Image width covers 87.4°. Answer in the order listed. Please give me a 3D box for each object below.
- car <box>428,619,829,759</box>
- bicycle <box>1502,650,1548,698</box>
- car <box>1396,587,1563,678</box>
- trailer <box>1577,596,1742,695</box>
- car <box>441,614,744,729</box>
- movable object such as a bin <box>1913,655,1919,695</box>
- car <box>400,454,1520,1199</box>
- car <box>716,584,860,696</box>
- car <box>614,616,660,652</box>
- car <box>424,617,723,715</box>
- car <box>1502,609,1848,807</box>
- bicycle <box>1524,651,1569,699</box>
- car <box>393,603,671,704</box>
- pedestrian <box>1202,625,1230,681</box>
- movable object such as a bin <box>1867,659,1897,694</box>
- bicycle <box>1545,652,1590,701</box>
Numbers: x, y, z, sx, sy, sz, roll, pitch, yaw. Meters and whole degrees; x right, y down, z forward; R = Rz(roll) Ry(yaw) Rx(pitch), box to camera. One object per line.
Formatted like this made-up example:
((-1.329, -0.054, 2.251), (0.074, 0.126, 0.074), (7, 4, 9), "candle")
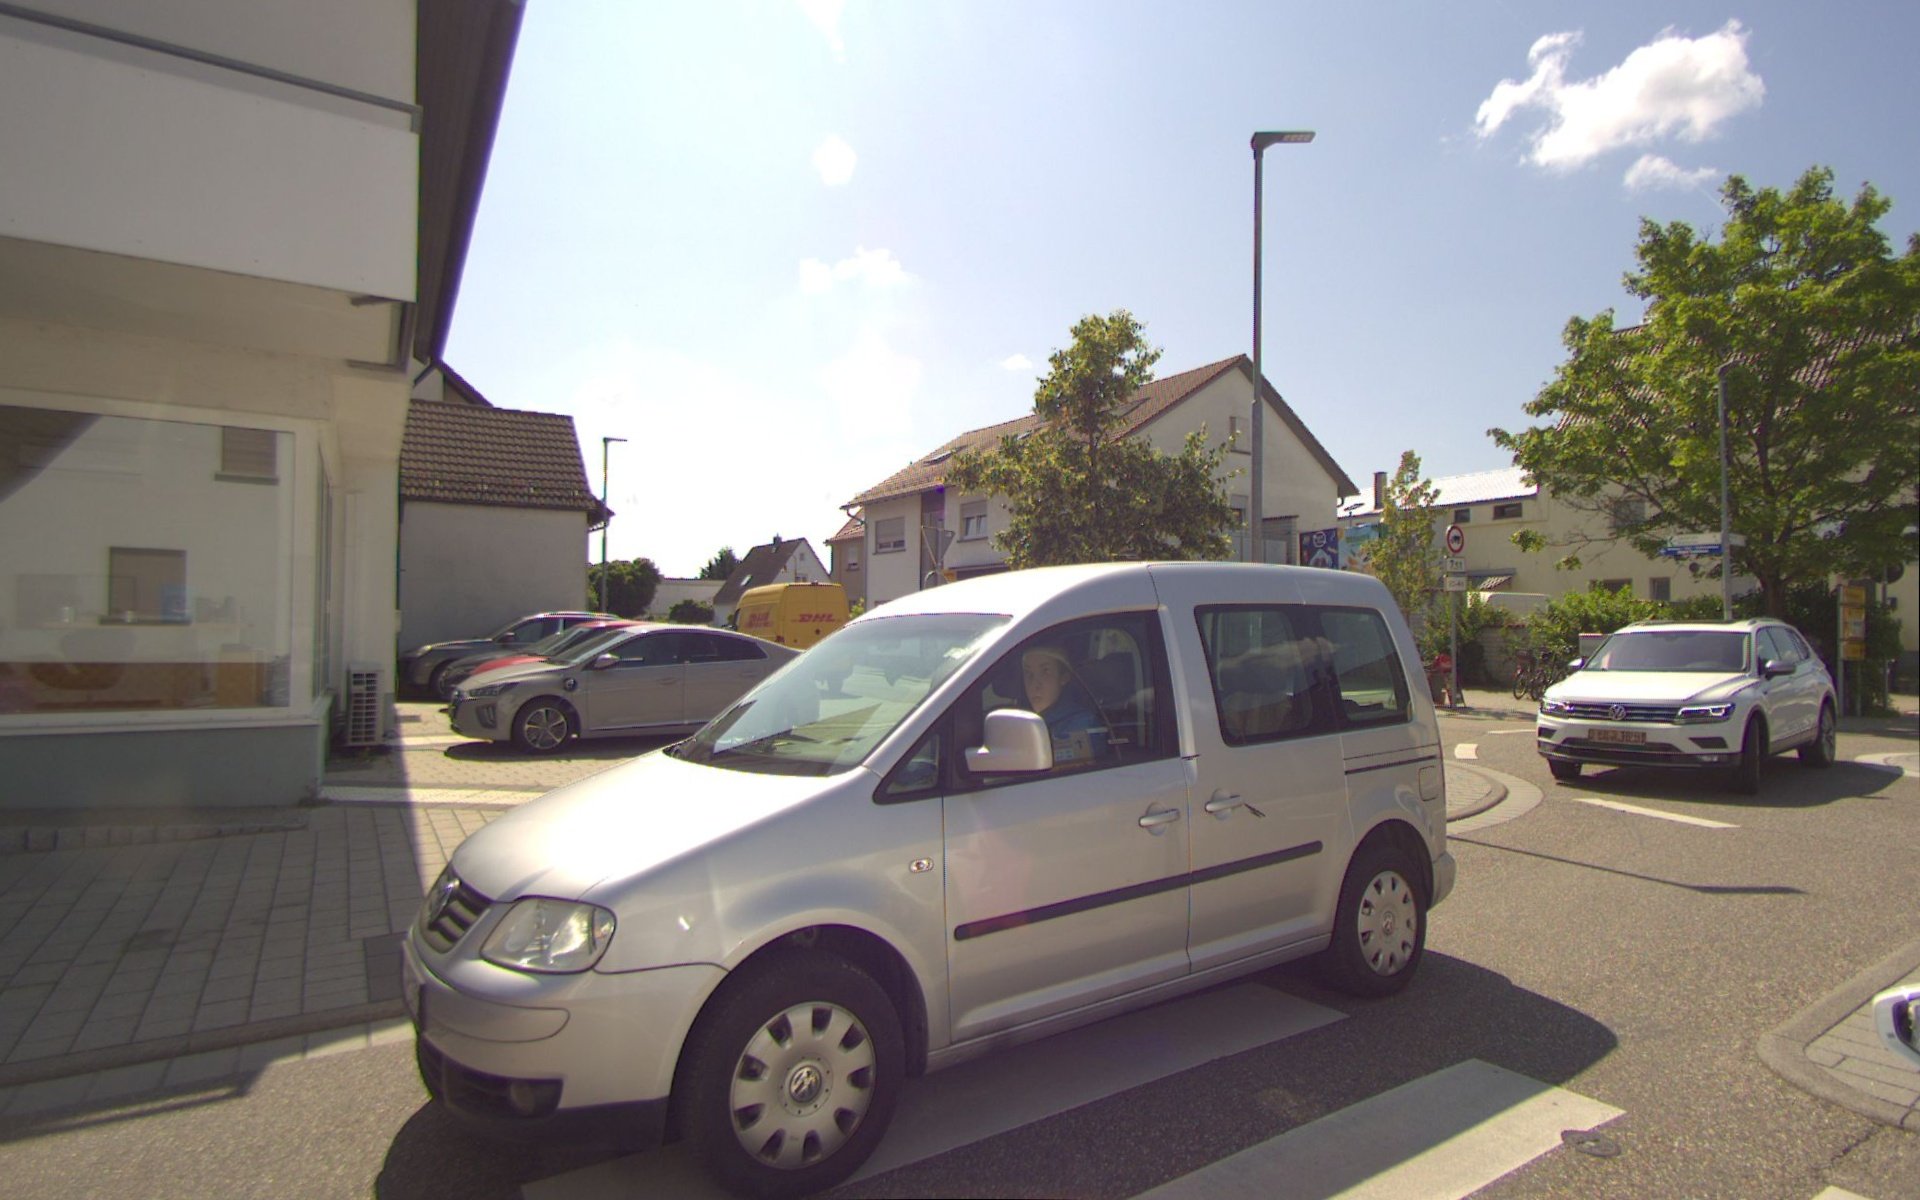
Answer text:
((-4.045, 1.025, 12.525), (4.431, 1.470, 1.819), (2, -2, -33), "car")
((13.414, 1.724, 23.825), (1.969, 1.017, 0.396), (0, 0, -44), "bicycle")
((15.945, 0.980, 30.736), (5.584, 2.601, 1.926), (2, 0, -32), "car")
((18.109, 1.129, 25.968), (4.473, 2.366, 1.869), (2, 0, -32), "trailer")
((-5.401, 1.008, 14.896), (3.922, 1.496, 1.737), (2, -2, -33), "car")
((26.199, 2.023, 27.061), (0.650, 1.093, 0.597), (1, -2, -30), "movable object such as a bin")
((0.307, 0.701, 4.135), (4.398, 1.845, 1.760), (2, -3, -36), "car")
((-4.648, 1.019, 26.295), (2.086, 2.606, 5.644), (1, -2, -28), "car")
((-17.571, 1.829, 54.780), (1.840, 1.857, 3.966), (1, 0, -10), "car")
((-6.474, 1.084, 17.011), (4.431, 1.470, 1.819), (2, -2, -33), "car")
((7.902, 0.990, 10.947), (4.502, 1.732, 1.852), (0, -2, -38), "car")
((13.734, 1.733, 23.514), (1.969, 1.017, 0.396), (0, 0, -44), "bicycle")
((-8.280, 1.028, 19.584), (4.699, 1.762, 1.969), (2, -2, -33), "car")
((7.576, 1.565, 29.760), (0.735, 1.610, 0.881), (0, -1, 11), "pedestrian")
((25.572, 2.108, 27.862), (0.540, 0.940, 0.477), (1, -2, -30), "movable object such as a bin")
((14.035, 1.741, 23.179), (1.969, 1.017, 0.396), (0, 0, -44), "bicycle")
